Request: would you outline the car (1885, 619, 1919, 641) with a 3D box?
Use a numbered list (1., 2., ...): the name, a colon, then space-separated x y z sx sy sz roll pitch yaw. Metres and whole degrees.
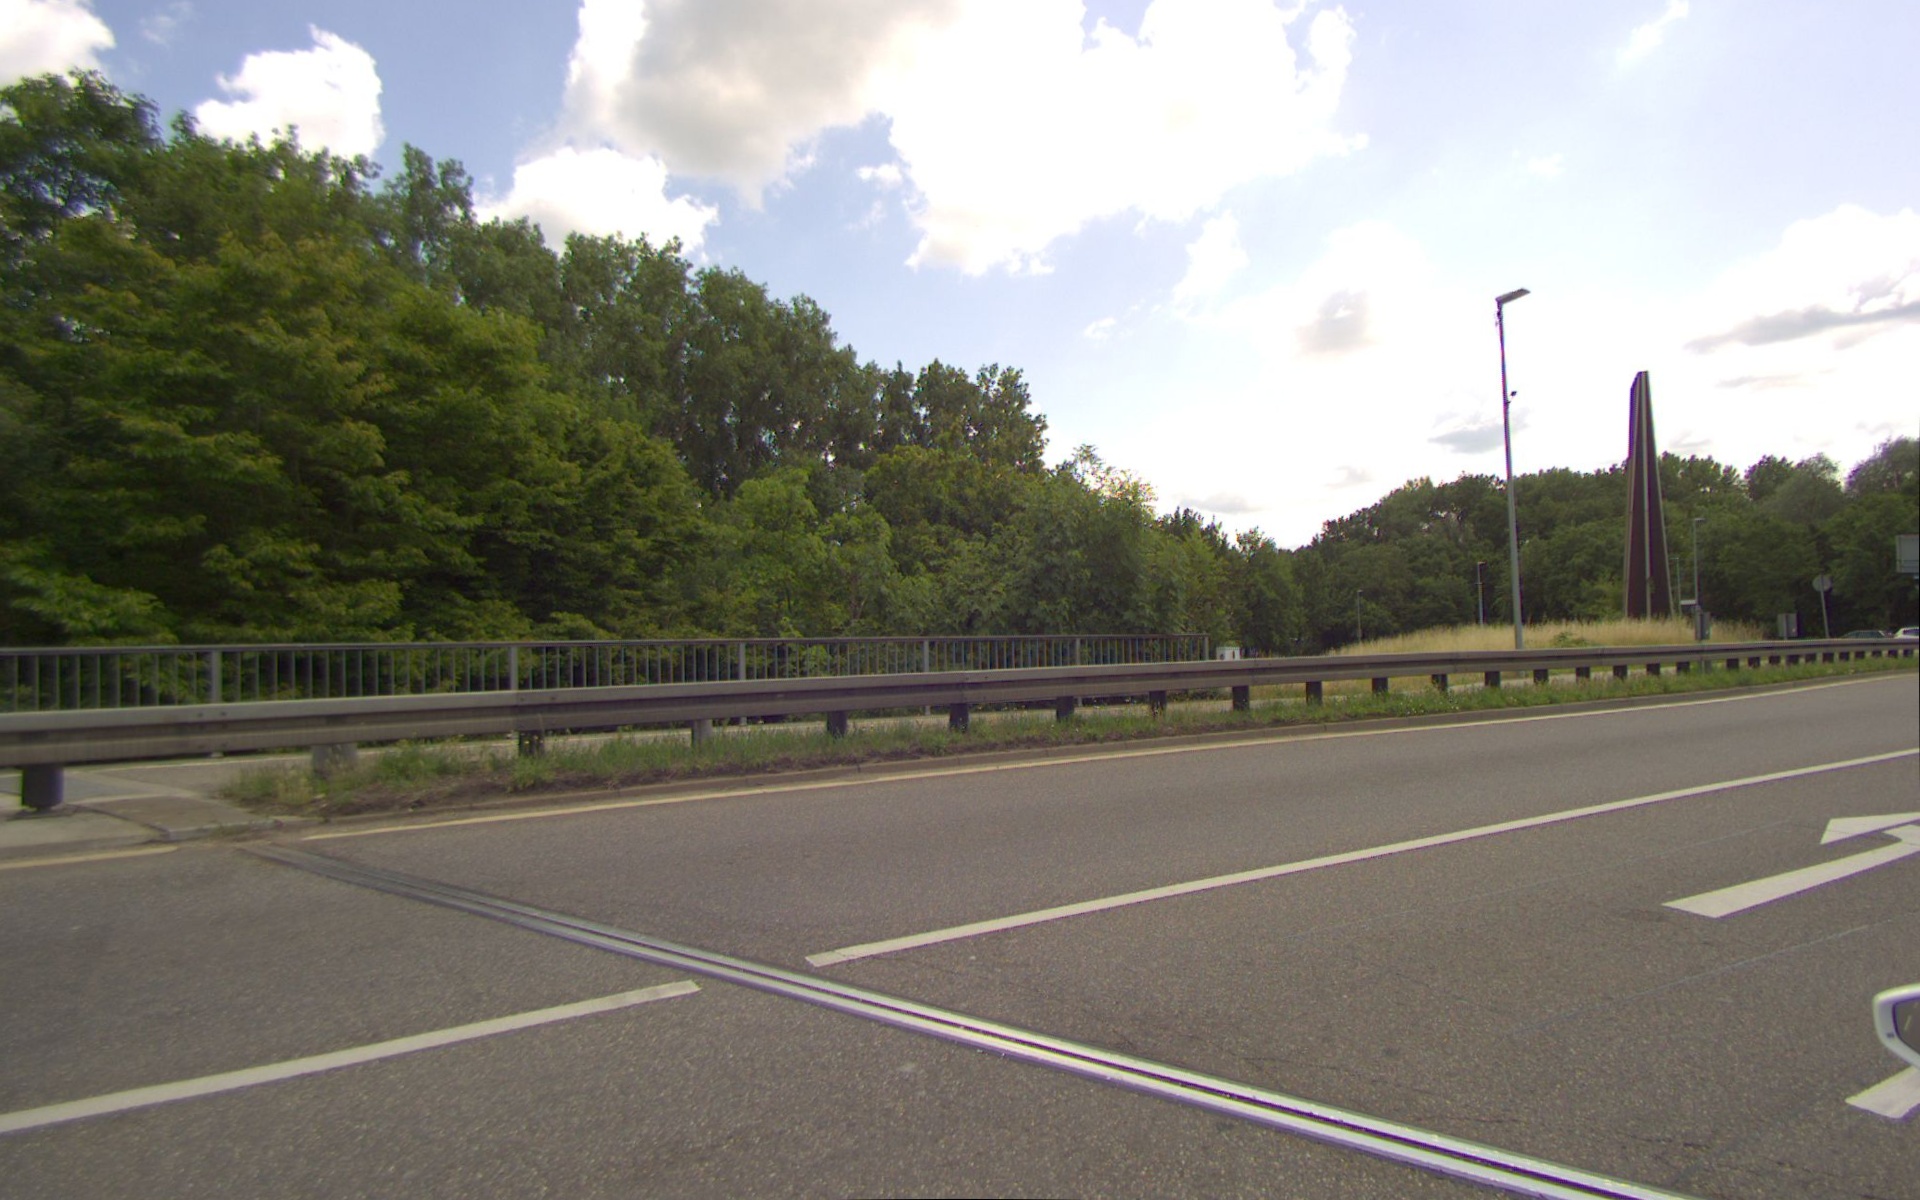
1. car: 52.311 1.670 54.238 1.562 1.132 3.591 1 0 4
